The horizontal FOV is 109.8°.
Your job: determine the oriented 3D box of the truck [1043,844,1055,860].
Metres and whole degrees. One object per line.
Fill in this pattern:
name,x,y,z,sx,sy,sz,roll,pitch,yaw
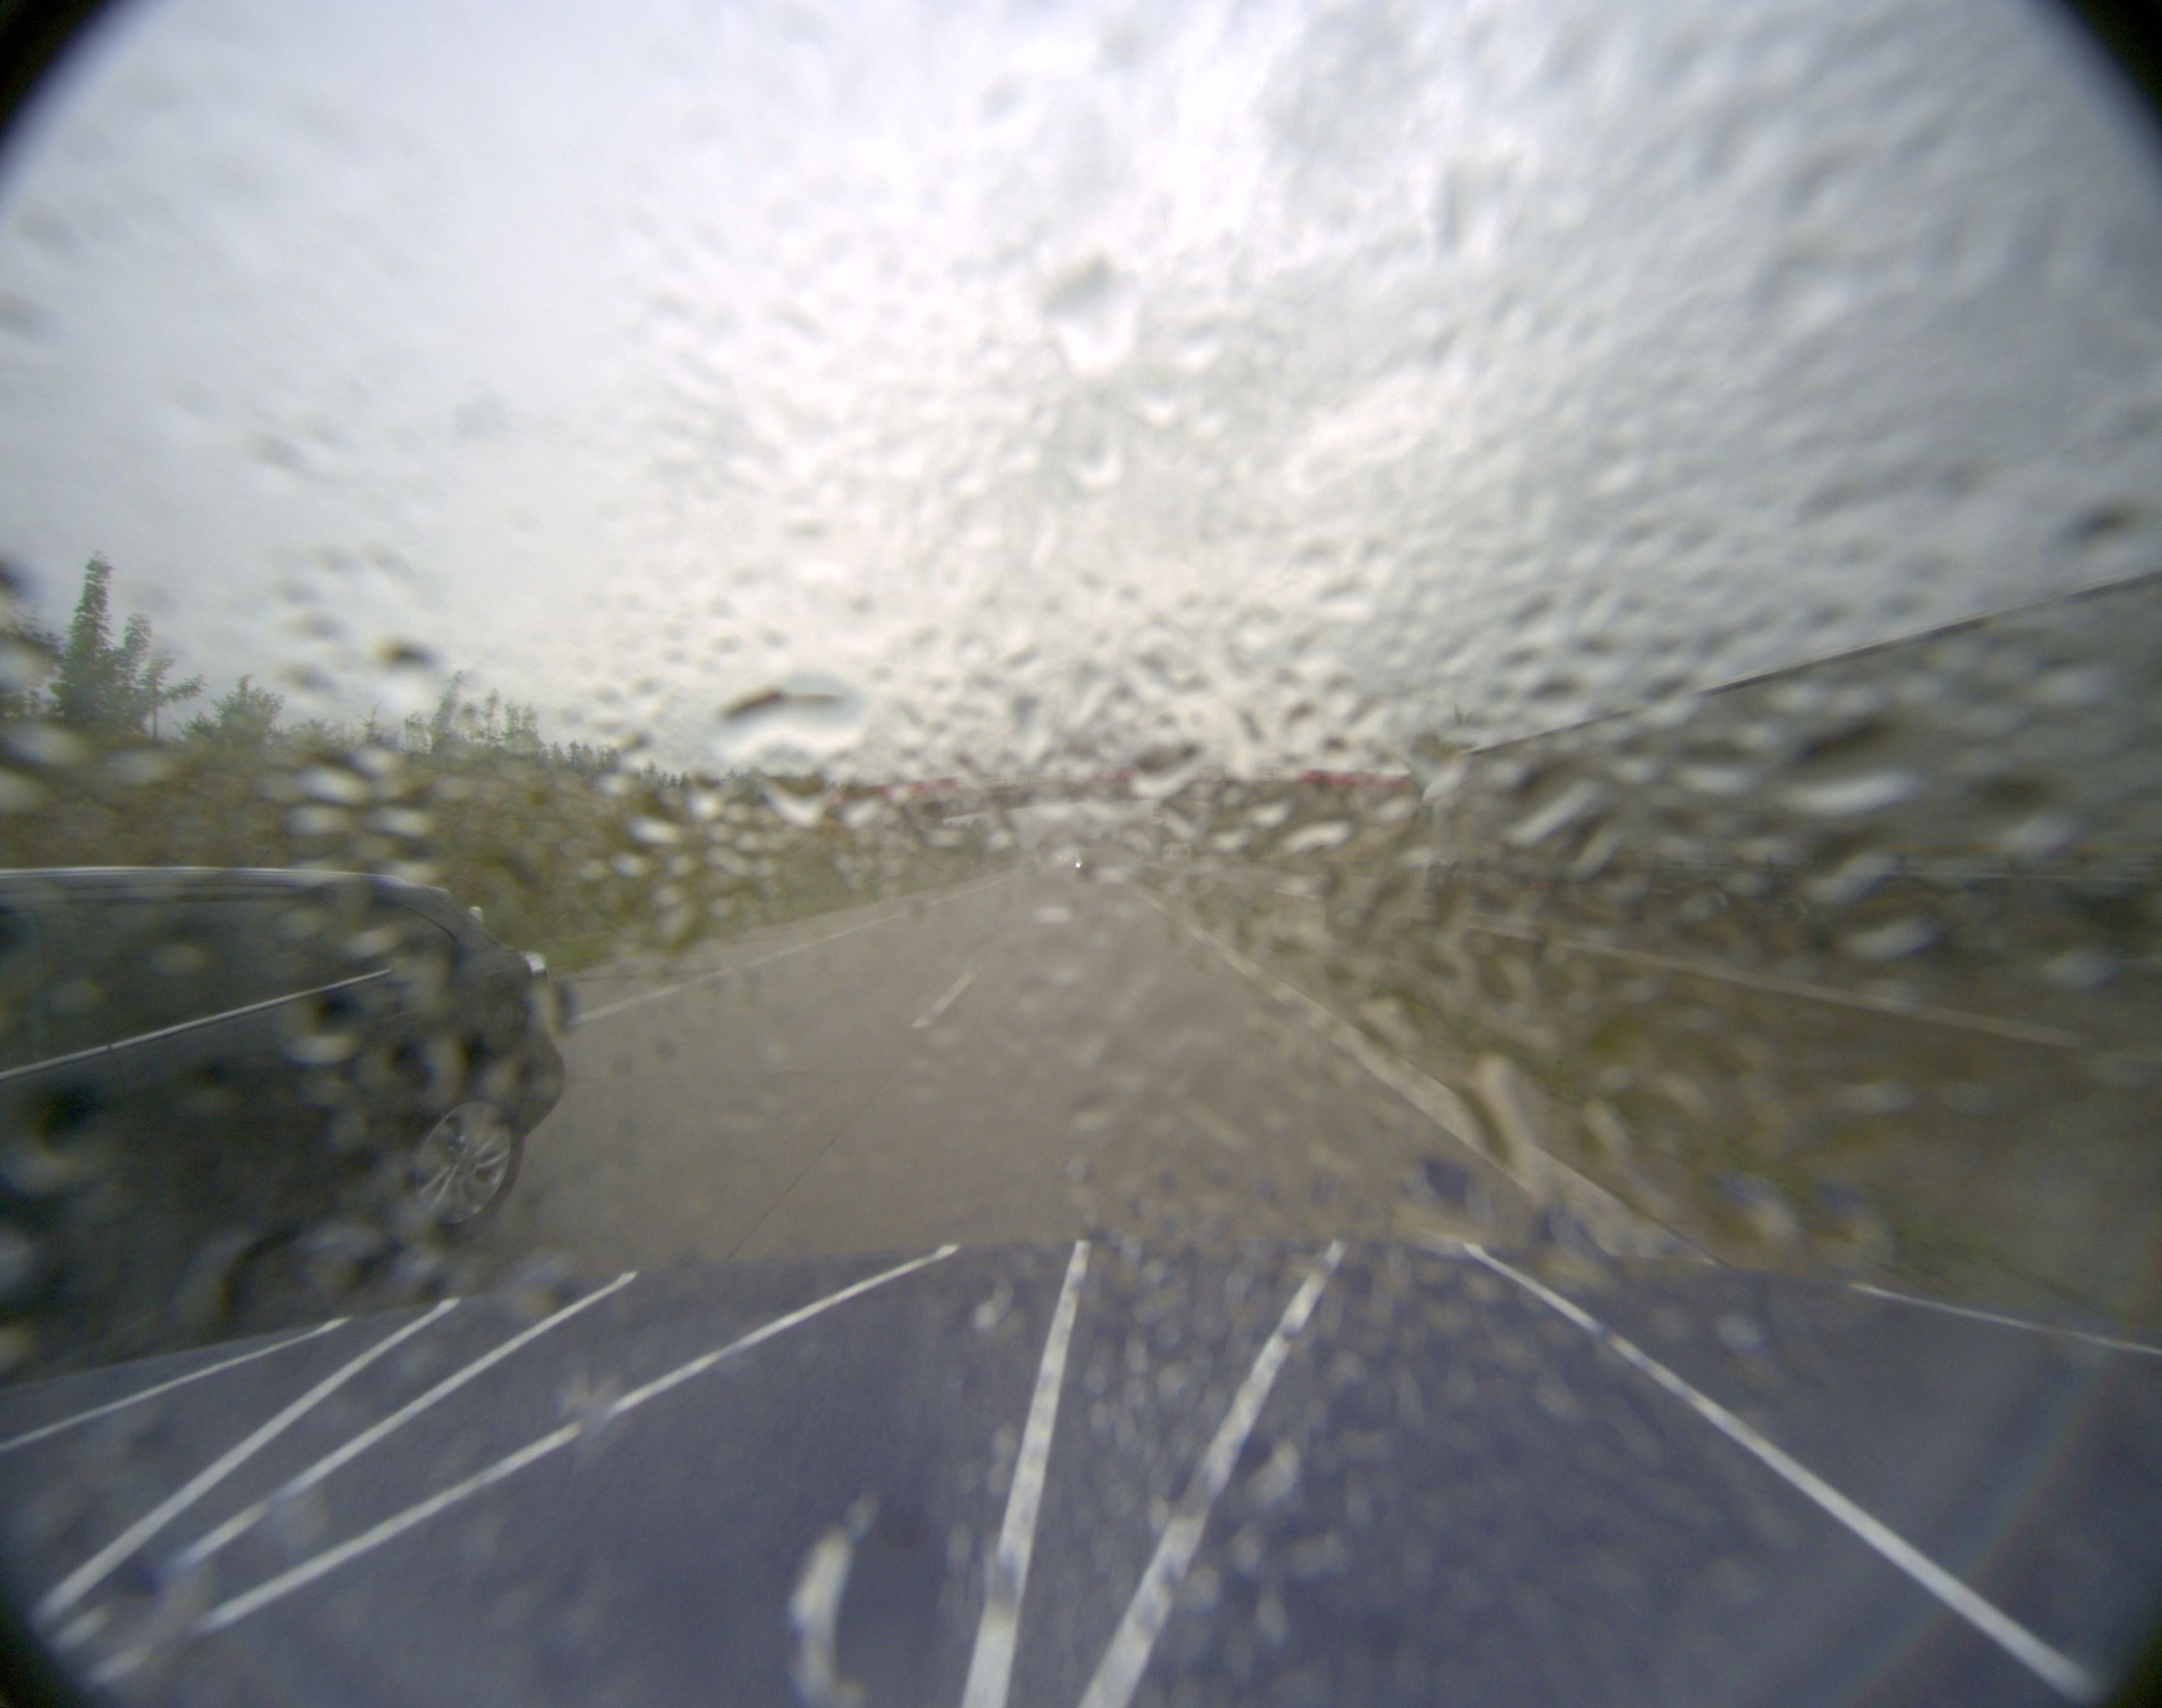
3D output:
truck,-8.465,-0.597,200.741,2.768,4.062,5.435,0,-2,-7

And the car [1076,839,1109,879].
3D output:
car,0.688,0.337,42.843,1.795,2.113,4.526,0,-2,2

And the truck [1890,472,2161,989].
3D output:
truck,10.813,-1.103,5.511,2.828,4.494,6.625,-2,1,1

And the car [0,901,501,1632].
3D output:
car,-3.424,1.013,1.362,1.899,1.567,3.632,-2,0,0

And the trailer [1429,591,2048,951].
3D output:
trailer,11.022,-1.090,15.403,2.854,4.494,11.338,-2,0,1
